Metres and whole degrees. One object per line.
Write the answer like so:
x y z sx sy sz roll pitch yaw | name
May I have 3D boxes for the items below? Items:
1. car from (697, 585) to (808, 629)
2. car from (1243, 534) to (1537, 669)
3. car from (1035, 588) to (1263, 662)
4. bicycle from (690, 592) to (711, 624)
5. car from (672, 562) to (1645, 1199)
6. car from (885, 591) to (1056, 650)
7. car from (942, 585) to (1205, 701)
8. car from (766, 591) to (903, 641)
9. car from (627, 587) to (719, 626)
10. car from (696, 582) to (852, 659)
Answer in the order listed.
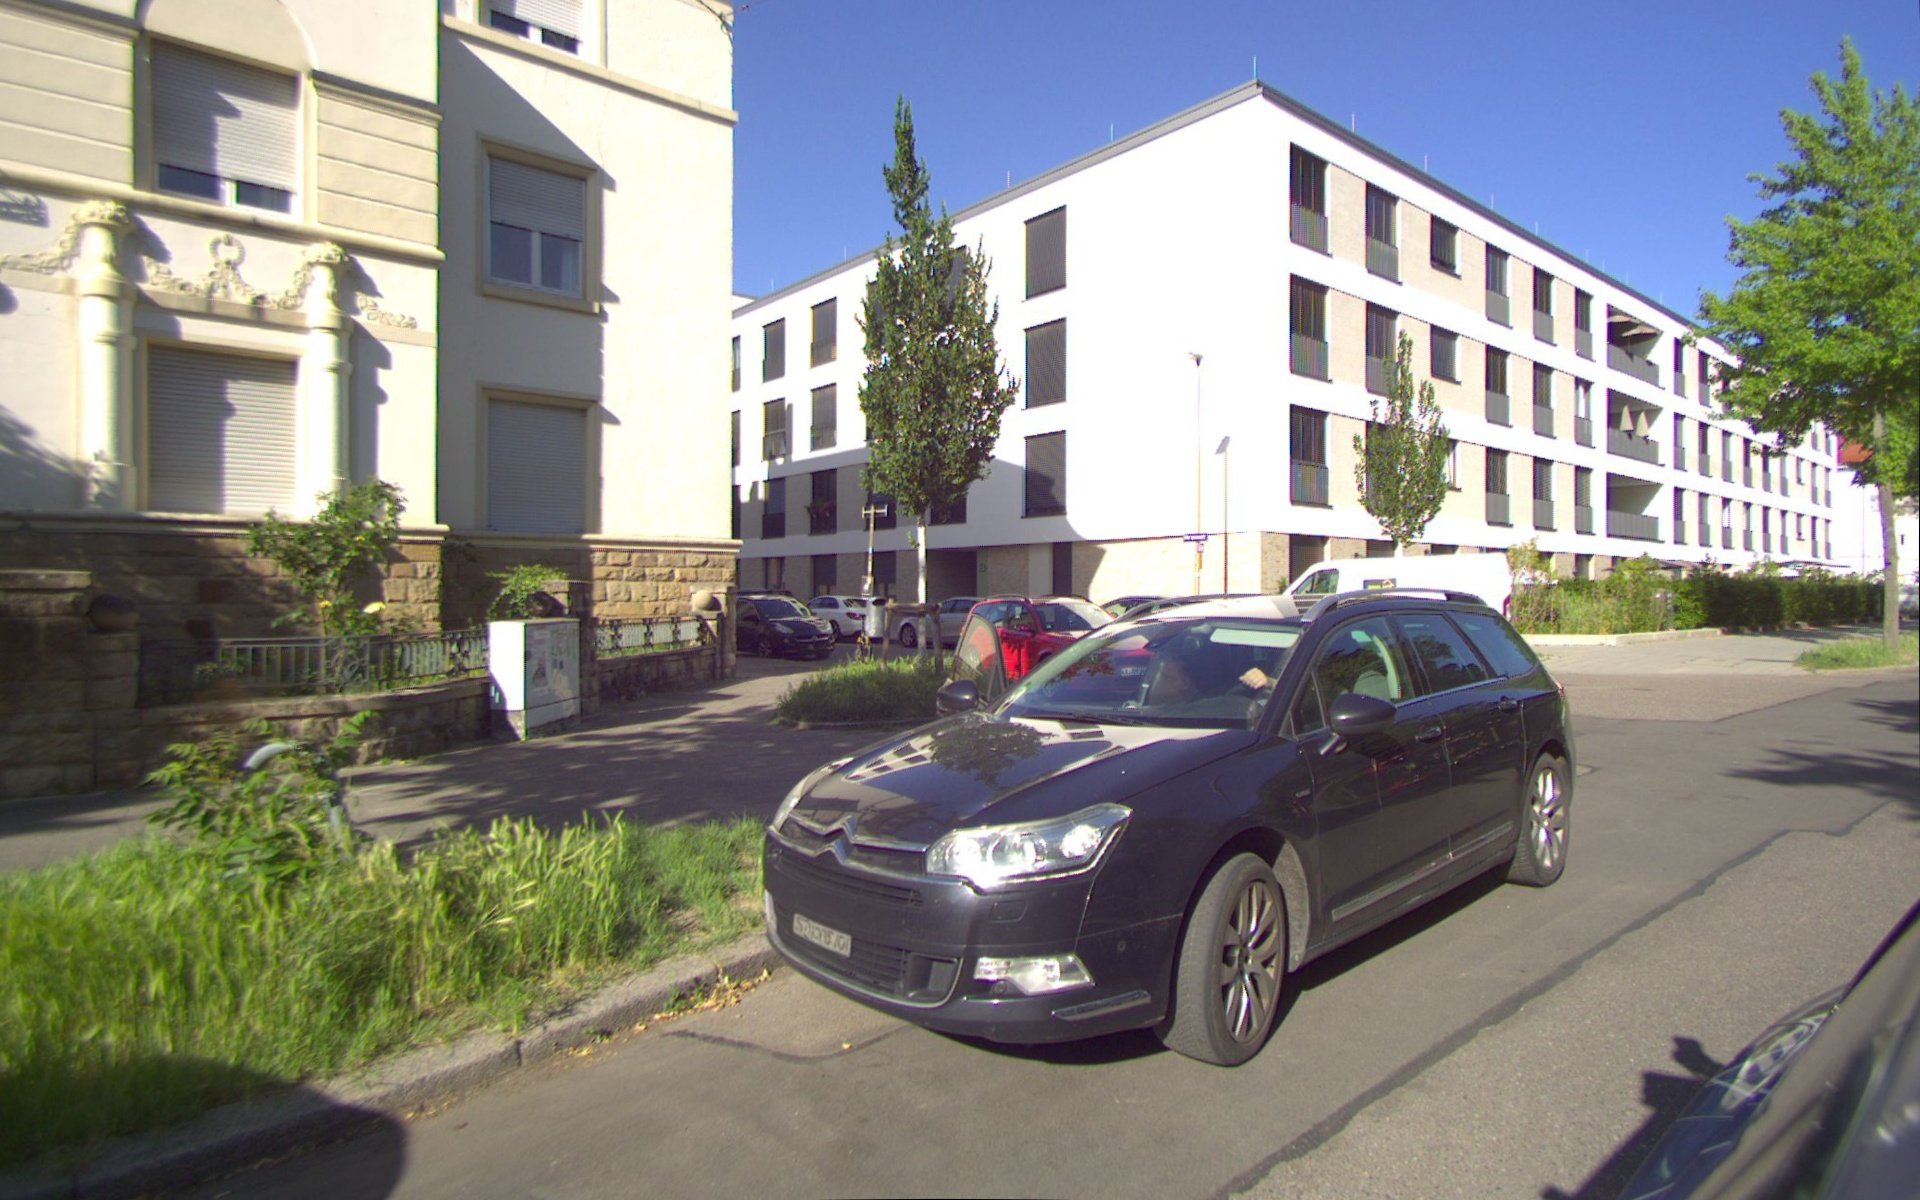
-7.517 0.259 36.417 1.931 1.488 4.520 -1 -1 -41 | car
8.261 0.008 19.667 5.009 2.335 2.213 0 0 28 | car
4.132 0.473 22.863 2.012 1.488 4.936 0 1 -40 | car
-11.262 0.348 43.869 0.422 1.339 1.831 -1 0 -29 | bicycle
1.357 0.635 4.787 4.881 1.543 1.899 -2 0 -41 | car
0.169 0.517 27.489 1.926 1.447 4.938 2 -1 -39 | car
1.544 0.543 15.790 1.913 1.488 4.742 -1 1 -24 | car
-4.128 0.507 32.544 1.931 1.488 4.934 -1 -1 -41 | car
-11.871 0.288 41.691 1.931 1.488 4.520 -1 -1 -41 | car
-4.468 0.418 23.907 1.802 1.661 4.179 -1 1 -40 | car
